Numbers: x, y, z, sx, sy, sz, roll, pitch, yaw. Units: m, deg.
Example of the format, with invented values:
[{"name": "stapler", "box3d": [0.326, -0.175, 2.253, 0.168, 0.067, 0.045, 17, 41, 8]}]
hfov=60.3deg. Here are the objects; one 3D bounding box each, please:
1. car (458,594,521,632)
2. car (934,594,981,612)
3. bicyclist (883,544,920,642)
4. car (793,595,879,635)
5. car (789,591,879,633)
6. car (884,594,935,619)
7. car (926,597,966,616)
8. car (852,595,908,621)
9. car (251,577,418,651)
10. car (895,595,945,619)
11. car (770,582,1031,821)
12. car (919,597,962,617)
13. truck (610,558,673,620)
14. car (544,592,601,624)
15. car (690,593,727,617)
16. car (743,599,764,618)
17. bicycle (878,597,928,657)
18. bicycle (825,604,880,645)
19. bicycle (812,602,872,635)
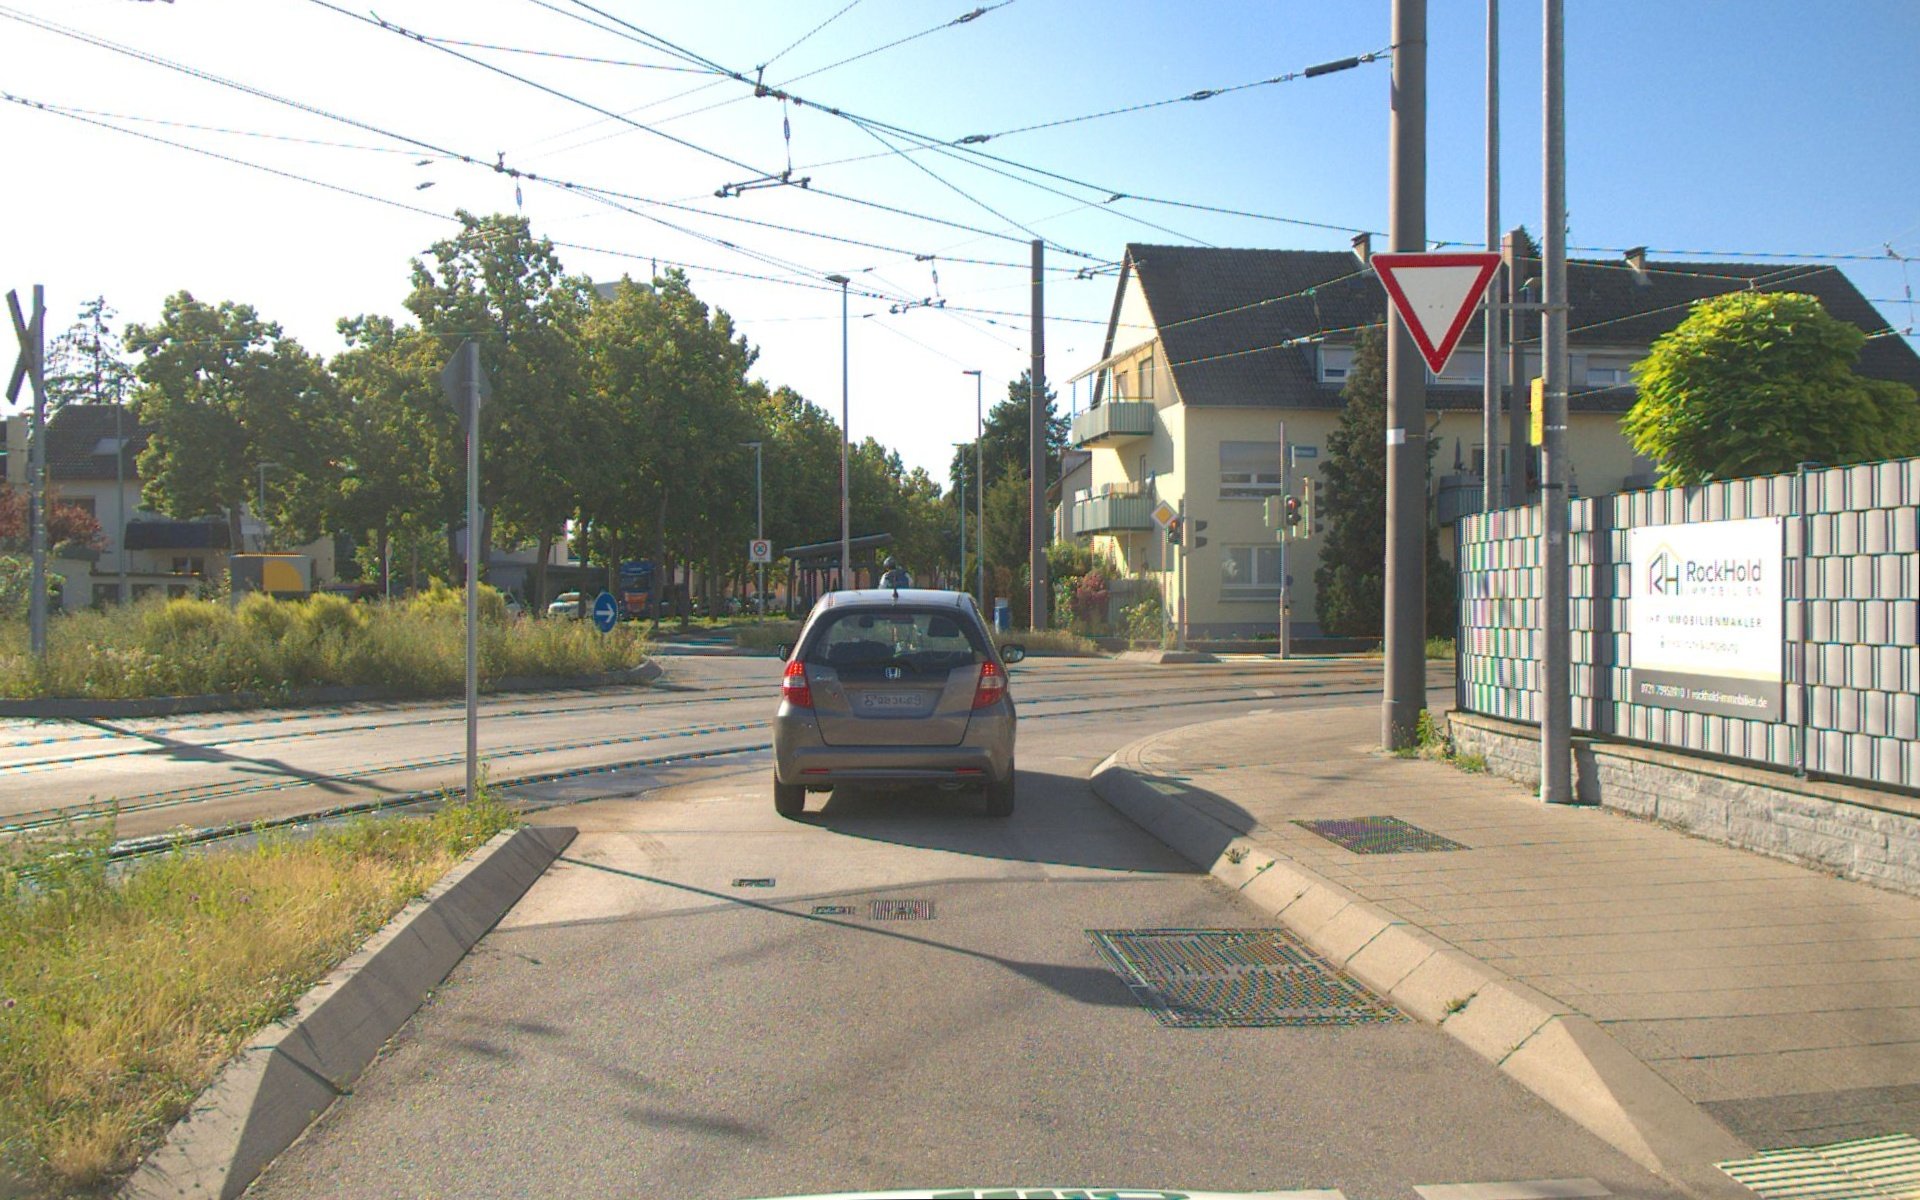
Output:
[{"name": "car", "box3d": [-22.801, 0.605, 80.219, 1.953, 1.729, 4.216, 1, 0, -2]}, {"name": "car", "box3d": [-0.199, 0.227, 123.018, 3.446, 1.302, 1.577, 1, 0, -3]}, {"name": "bicyclist", "box3d": [-1.064, -0.124, 29.997, 0.591, 1.744, 0.543, -1, -4, -7]}, {"name": "car", "box3d": [-5.079, 0.614, 68.076, 3.445, 1.560, 1.577, 1, 0, -2]}, {"name": "car", "box3d": [-5.028, 0.476, 66.304, 3.445, 1.560, 1.577, 1, 0, -2]}, {"name": "car", "box3d": [-3.304, 0.419, 108.701, 3.292, 1.560, 1.522, 1, 0, -3]}, {"name": "car", "box3d": [-1.221, 0.550, 143.564, 3.446, 1.560, 1.577, 1, 0, -3]}, {"name": "car", "box3d": [-4.962, 0.472, 102.822, 3.341, 1.560, 1.525, 0, 0, 2]}, {"name": "car", "box3d": [-18.387, 0.404, 48.946, 1.951, 2.016, 5.242, -2, -1, 14]}, {"name": "car", "box3d": [-2.744, 0.478, 113.473, 3.409, 1.519, 1.551, 1, 0, -3]}, {"name": "car", "box3d": [-0.450, 0.637, 12.519, 1.654, 1.517, 3.913, 0, 0, -2]}, {"name": "car", "box3d": [-1.578, 0.539, 132.911, 3.446, 1.560, 1.577, 1, 0, -3]}, {"name": "truck", "box3d": [-21.943, -0.782, 114.496, 3.008, 4.063, 8.005, 1, 0, -2]}, {"name": "car", "box3d": [-22.630, 0.444, 96.782, 1.952, 1.804, 5.061, 1, 0, 2]}, {"name": "car", "box3d": [-17.662, 0.338, 116.346, 1.793, 1.608, 4.442, 1, 0, 2]}, {"name": "car", "box3d": [-18.480, 0.743, 148.096, 1.614, 1.677, 3.567, 1, 0, -2]}, {"name": "bicycle", "box3d": [-1.042, 0.477, 30.019, 0.752, 1.055, 1.531, 0, 0, -8]}, {"name": "bicycle", "box3d": [-3.321, 0.758, 51.077, 1.633, 1.229, 0.688, 1, 0, -6]}, {"name": "bicycle", "box3d": [-3.905, 0.623, 54.737, 1.935, 1.045, 0.695, 1, 0, -6]}]
